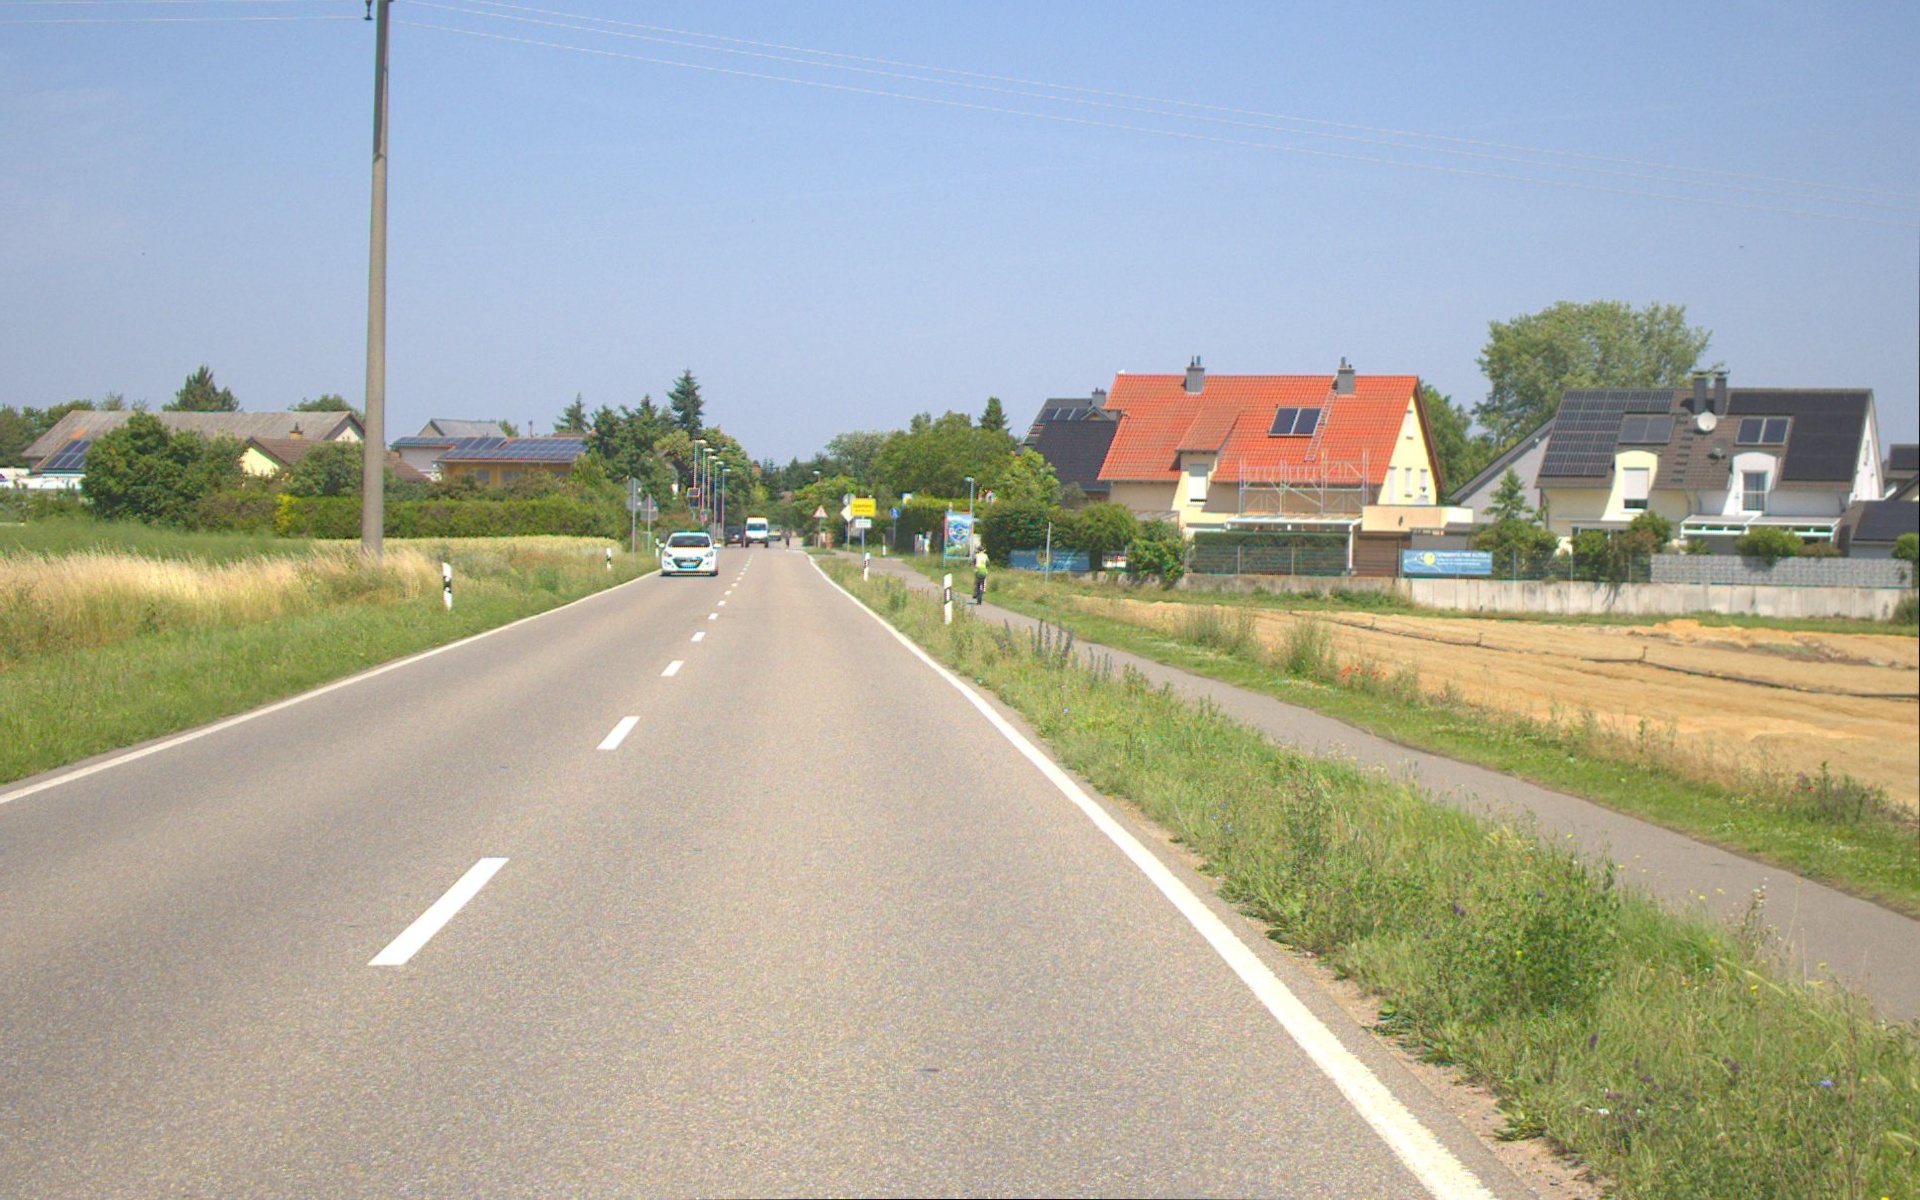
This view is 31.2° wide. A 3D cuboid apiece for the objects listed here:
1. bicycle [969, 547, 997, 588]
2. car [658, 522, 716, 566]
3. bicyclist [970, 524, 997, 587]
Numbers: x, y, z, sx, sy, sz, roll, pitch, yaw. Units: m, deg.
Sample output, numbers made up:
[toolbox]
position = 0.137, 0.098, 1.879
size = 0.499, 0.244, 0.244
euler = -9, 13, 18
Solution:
[bicycle]
position = 0.695, -0.984, 104.386
size = 0.610, 1.154, 2.275
euler = 3, 2, -4
[car]
position = -9.020, -1.871, 113.835
size = 1.791, 1.404, 4.186
euler = 0, 1, -3
[bicyclist]
position = 0.708, -1.356, 104.343
size = 0.645, 1.883, 0.861
euler = 3, 2, -4
